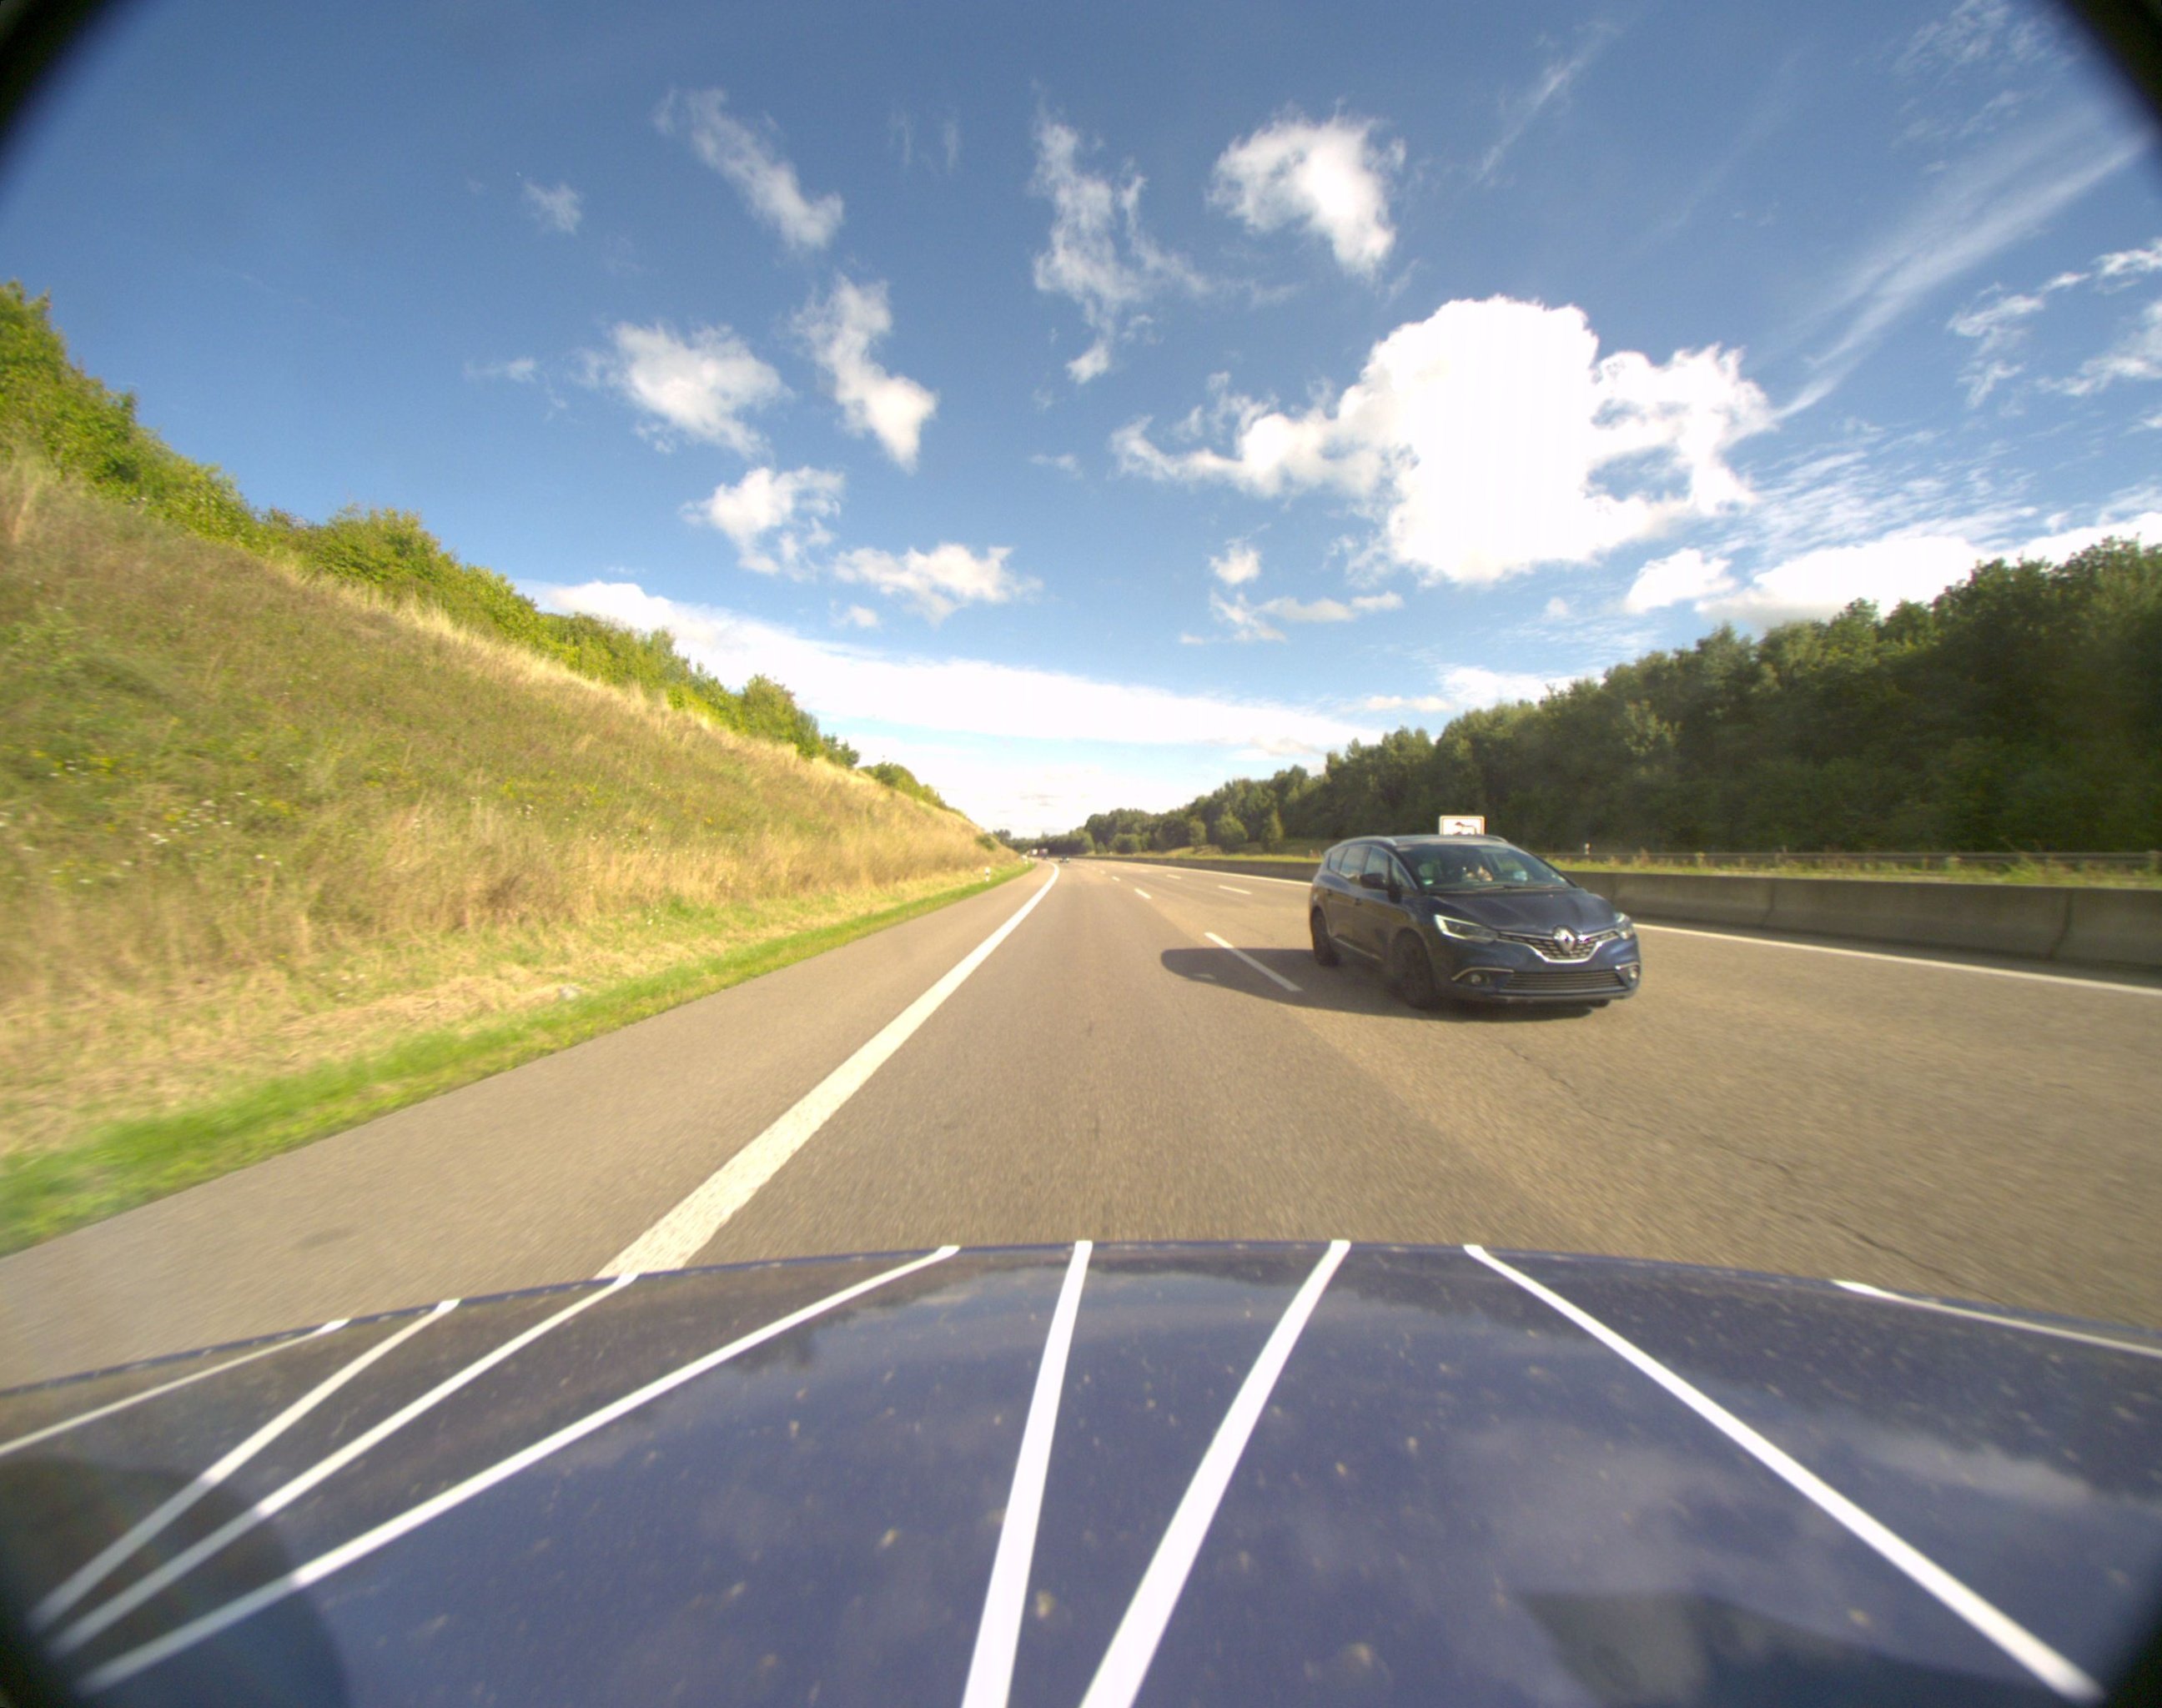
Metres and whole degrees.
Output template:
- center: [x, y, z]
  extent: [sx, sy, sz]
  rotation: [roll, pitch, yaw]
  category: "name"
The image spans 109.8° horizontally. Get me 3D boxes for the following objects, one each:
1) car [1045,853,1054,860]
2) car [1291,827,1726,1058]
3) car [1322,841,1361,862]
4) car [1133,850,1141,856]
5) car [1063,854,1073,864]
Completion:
- center: [-9.361, 0.653, 225.820]
  extent: [2.000, 2.002, 3.997]
  rotation: [-3, 1, -8]
  category: "car"
- center: [3.937, 0.668, 8.126]
  extent: [1.999, 1.697, 4.528]
  rotation: [-3, 0, -1]
  category: "car"
- center: [22.710, -0.229, 66.500]
  extent: [1.998, 1.737, 4.049]
  rotation: [-2, 0, 0]
  category: "car"
- center: [15.583, -0.336, 212.948]
  extent: [1.911, 1.444, 3.999]
  rotation: [-2, 0, -1]
  category: "car"
- center: [-2.606, 1.008, 151.518]
  extent: [1.999, 1.827, 3.998]
  rotation: [-2, 1, -2]
  category: "car"
